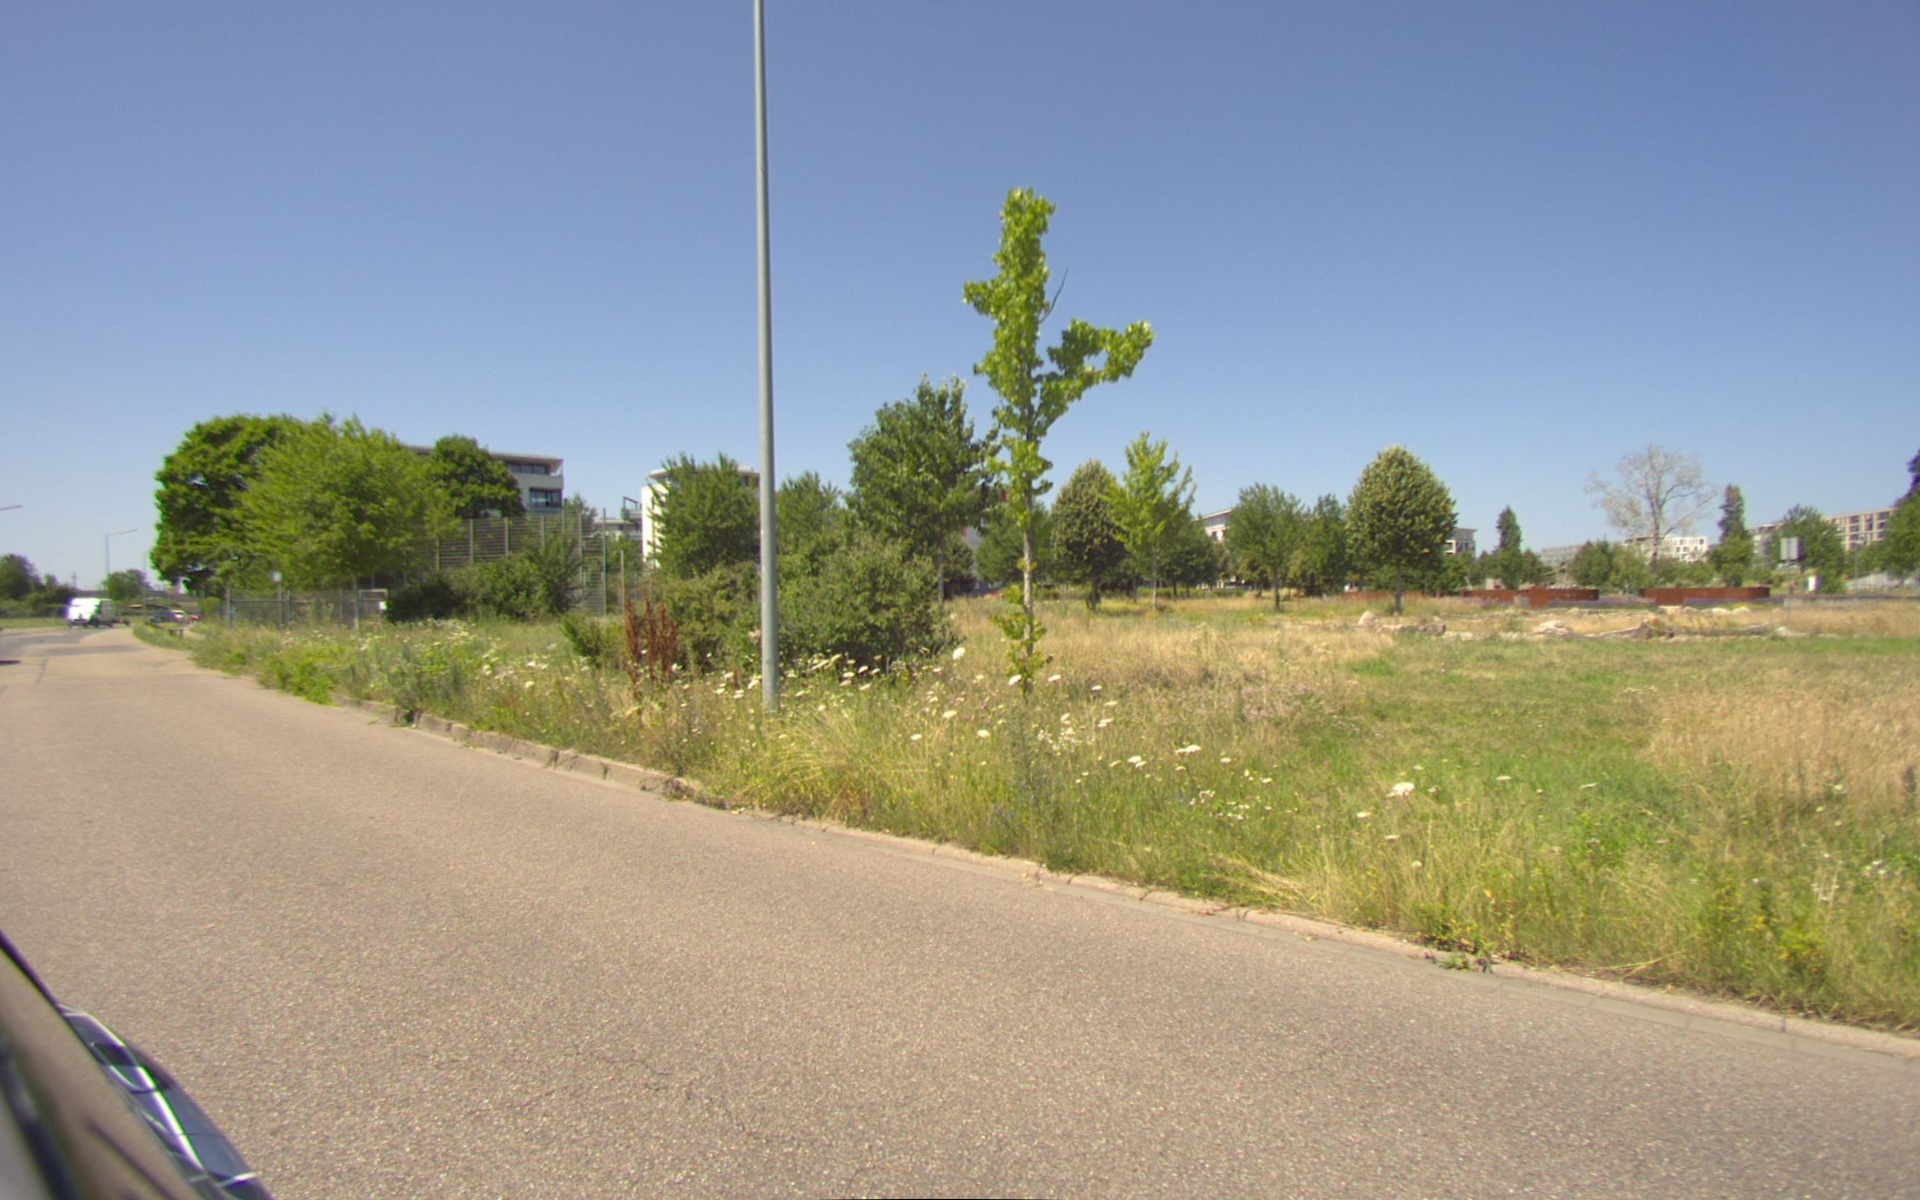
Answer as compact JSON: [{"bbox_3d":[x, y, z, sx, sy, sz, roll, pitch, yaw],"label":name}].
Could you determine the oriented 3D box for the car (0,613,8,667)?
[{"bbox_3d":[-26.975,1.108,27.192,1.628,1.478,4.168,-1,-1,-38],"label":"car"}]

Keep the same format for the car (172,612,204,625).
[{"bbox_3d":[-86.314,2.053,113.169,1.627,1.477,3.878,-1,0,-18],"label":"car"}]

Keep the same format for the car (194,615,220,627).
[{"bbox_3d":[-91.848,2.534,123.474,1.626,1.477,3.879,-1,0,-21],"label":"car"}]

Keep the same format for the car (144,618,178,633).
[{"bbox_3d":[-84.692,2.704,107.305,1.626,1.477,3.878,-1,0,-19],"label":"car"}]

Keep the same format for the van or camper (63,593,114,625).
[{"bbox_3d":[-74.733,0.771,86.862,2.106,2.592,5.884,-1,0,-29],"label":"van or camper"}]
